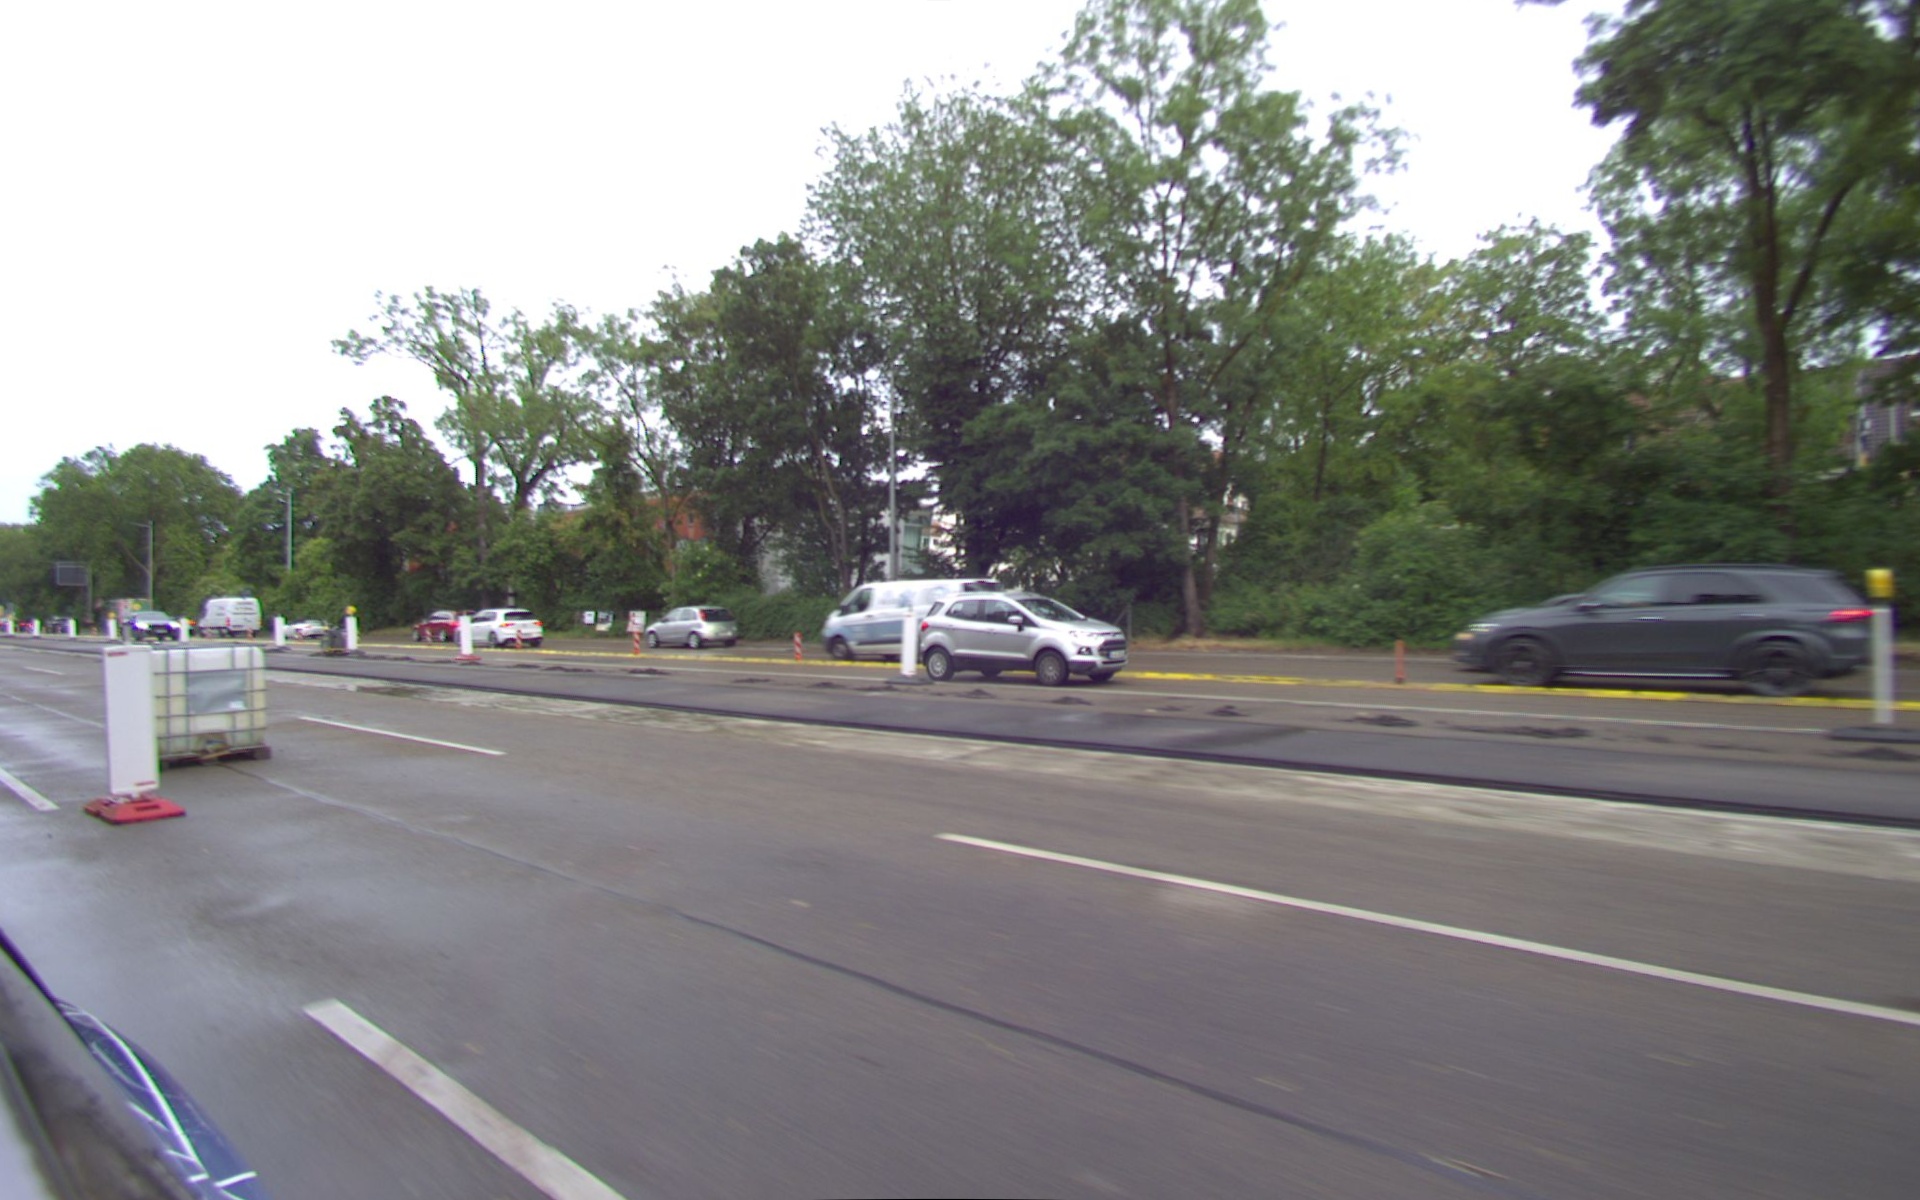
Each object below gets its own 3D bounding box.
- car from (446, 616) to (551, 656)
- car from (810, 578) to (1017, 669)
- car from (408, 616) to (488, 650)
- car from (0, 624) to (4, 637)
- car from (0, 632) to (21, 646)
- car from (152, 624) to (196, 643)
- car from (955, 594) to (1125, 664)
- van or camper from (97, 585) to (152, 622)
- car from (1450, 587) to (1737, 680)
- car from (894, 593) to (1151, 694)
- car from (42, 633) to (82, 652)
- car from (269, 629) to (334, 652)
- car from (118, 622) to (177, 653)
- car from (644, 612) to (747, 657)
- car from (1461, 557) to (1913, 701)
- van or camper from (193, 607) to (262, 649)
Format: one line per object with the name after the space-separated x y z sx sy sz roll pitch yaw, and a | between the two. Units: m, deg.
-17.527 1.331 38.328 4.390 1.426 1.973 -1 -1 41 | car
-1.198 0.554 24.365 4.897 1.987 1.974 -2 0 39 | car
-23.935 1.536 47.263 4.483 1.487 1.711 -1 -1 39 | car
-124.623 3.934 130.234 4.394 1.564 1.870 -1 0 40 | car
-104.670 4.278 111.217 4.105 1.453 1.670 -1 0 41 | car
-58.233 2.485 74.968 4.077 1.375 1.699 -1 -2 39 | car
1.973 0.698 25.681 3.997 1.634 1.808 -1 0 40 | car
-71.909 0.335 87.089 7.445 3.086 2.275 -1 -1 39 | van or camper
10.878 0.544 17.550 3.999 1.431 1.628 -1 0 42 | car
1.044 0.739 18.287 4.360 1.576 1.870 -2 0 40 | car
-81.718 3.846 92.062 4.803 1.706 1.973 -1 -2 40 | car
-38.047 2.347 58.462 3.989 1.192 1.675 -2 0 34 | car
-46.777 2.117 58.203 4.812 1.641 1.972 -1 0 43 | car
-9.155 1.170 34.919 3.637 1.411 1.661 -2 0 41 | car
10.216 0.380 14.593 5.010 1.738 2.000 -2 0 41 | car
-49.350 1.871 68.079 7.724 2.574 1.973 -1 0 40 | van or camper
